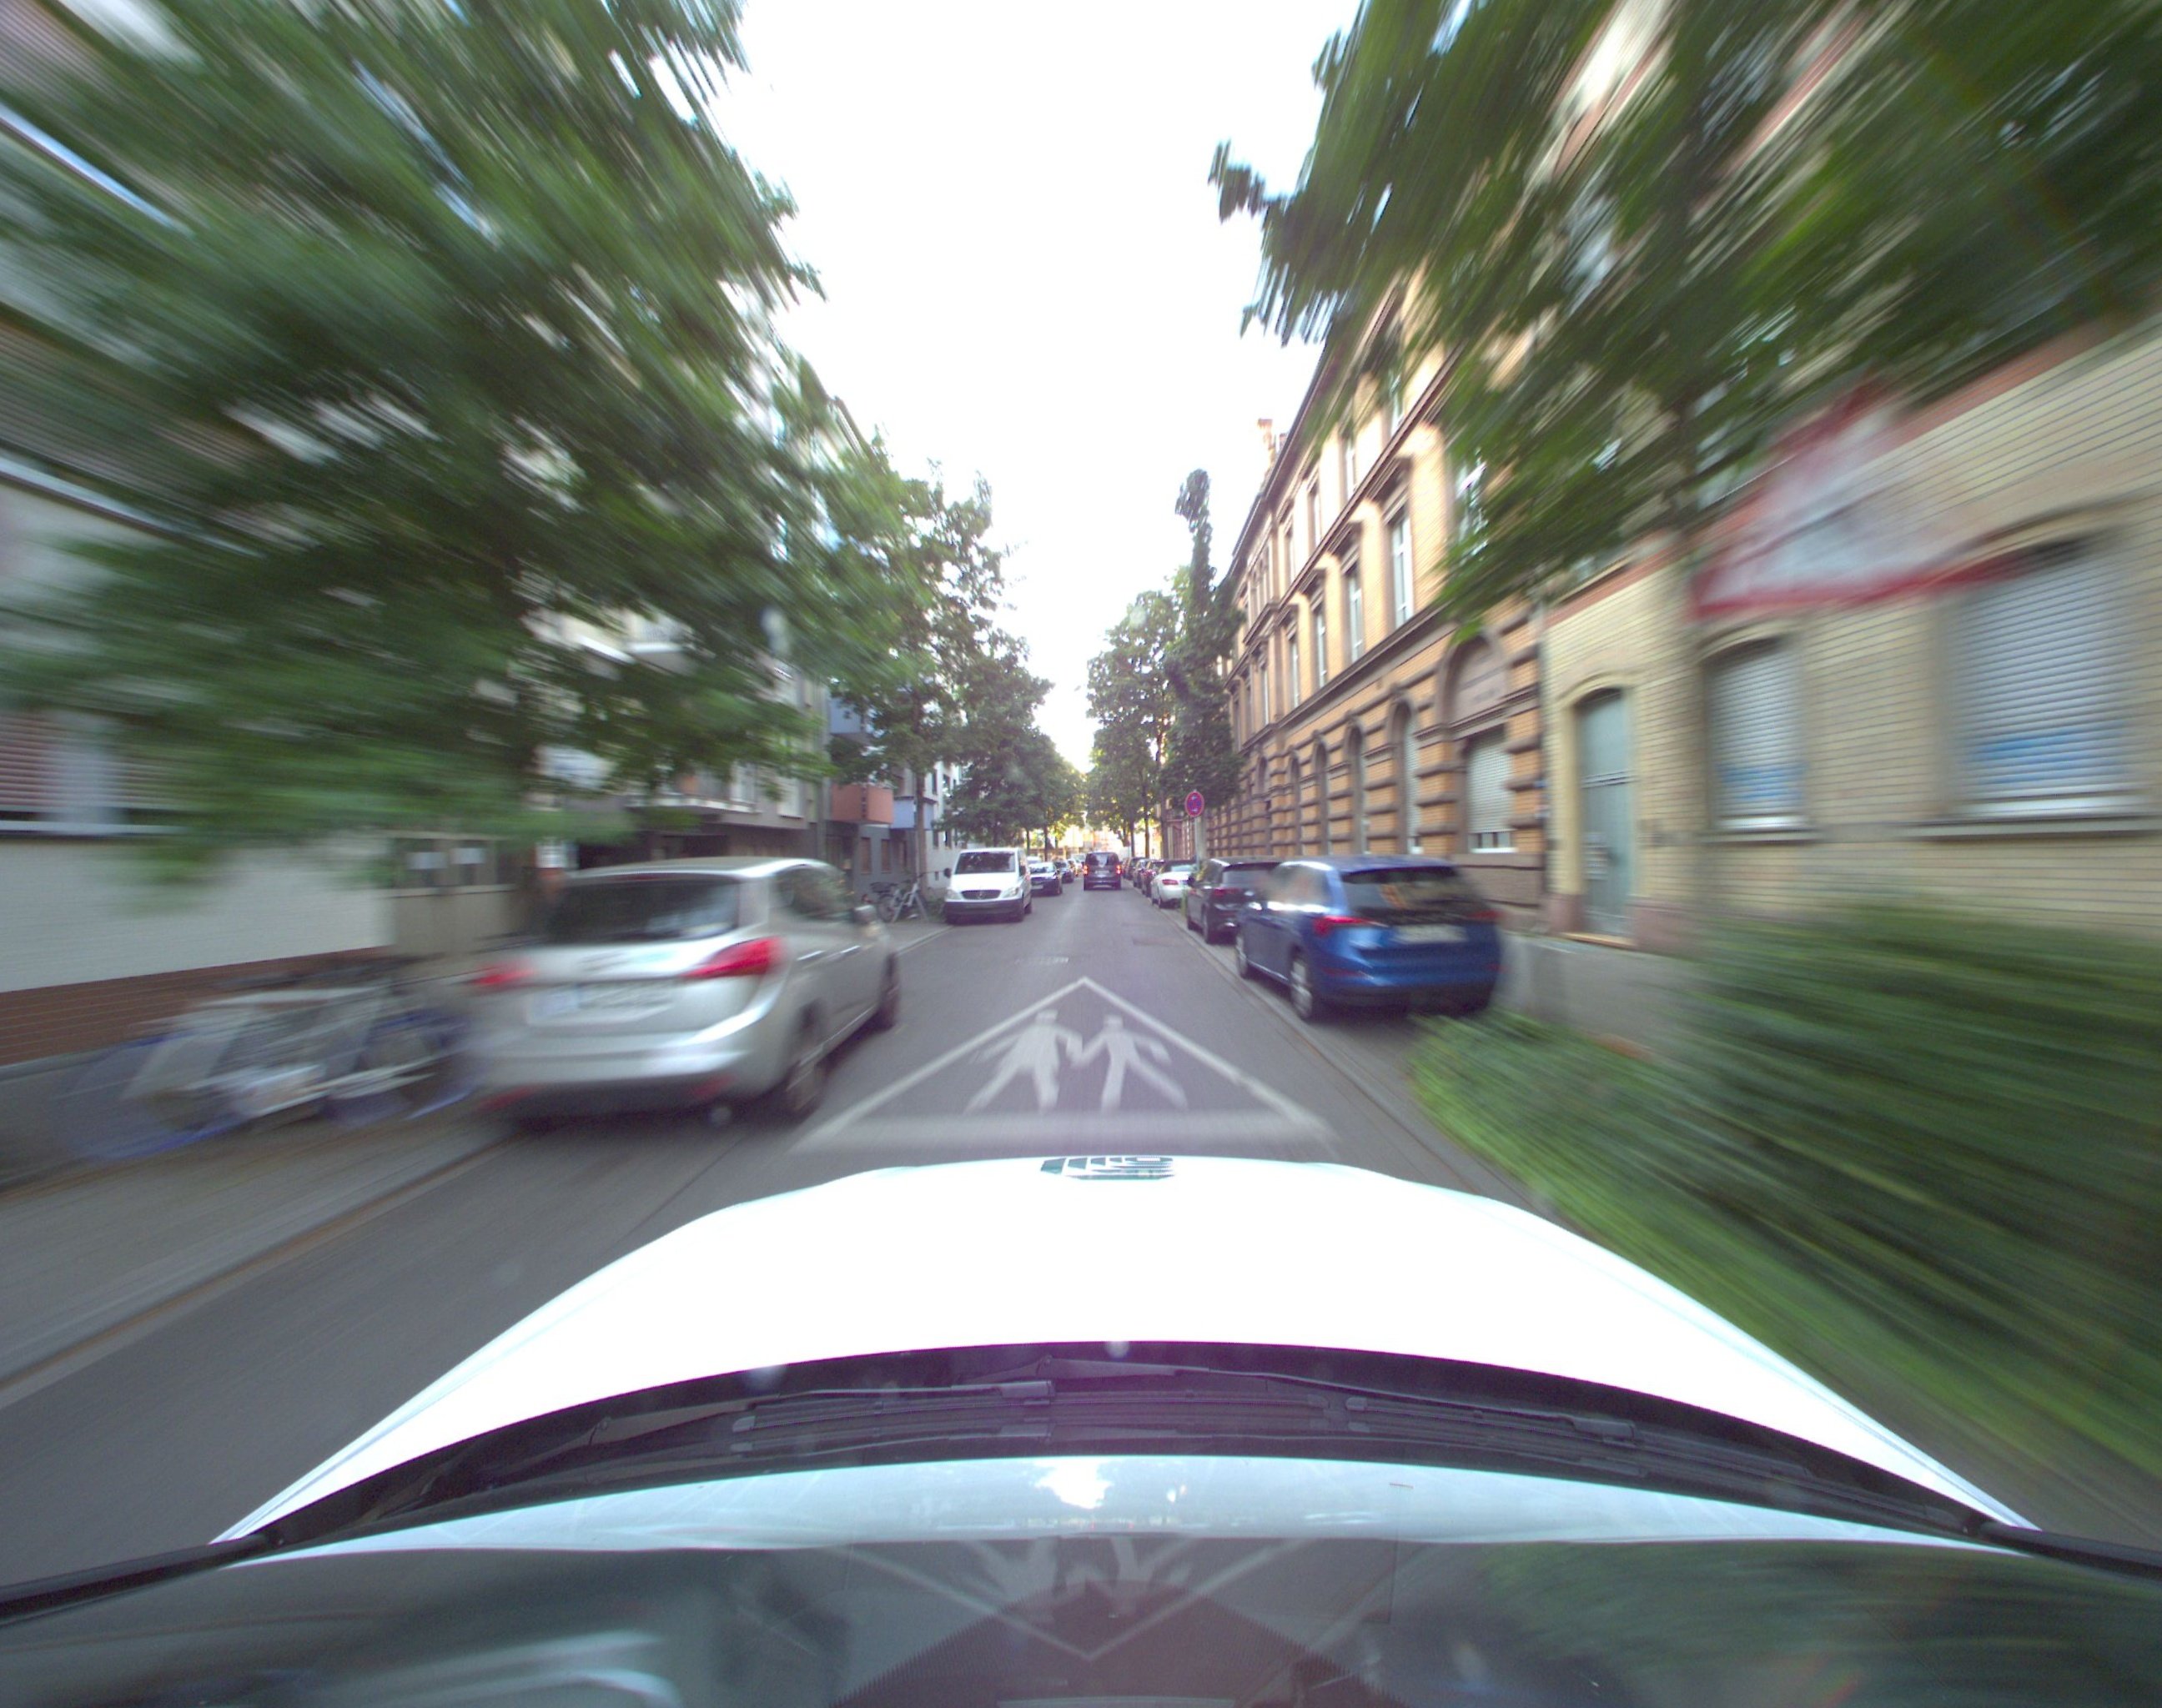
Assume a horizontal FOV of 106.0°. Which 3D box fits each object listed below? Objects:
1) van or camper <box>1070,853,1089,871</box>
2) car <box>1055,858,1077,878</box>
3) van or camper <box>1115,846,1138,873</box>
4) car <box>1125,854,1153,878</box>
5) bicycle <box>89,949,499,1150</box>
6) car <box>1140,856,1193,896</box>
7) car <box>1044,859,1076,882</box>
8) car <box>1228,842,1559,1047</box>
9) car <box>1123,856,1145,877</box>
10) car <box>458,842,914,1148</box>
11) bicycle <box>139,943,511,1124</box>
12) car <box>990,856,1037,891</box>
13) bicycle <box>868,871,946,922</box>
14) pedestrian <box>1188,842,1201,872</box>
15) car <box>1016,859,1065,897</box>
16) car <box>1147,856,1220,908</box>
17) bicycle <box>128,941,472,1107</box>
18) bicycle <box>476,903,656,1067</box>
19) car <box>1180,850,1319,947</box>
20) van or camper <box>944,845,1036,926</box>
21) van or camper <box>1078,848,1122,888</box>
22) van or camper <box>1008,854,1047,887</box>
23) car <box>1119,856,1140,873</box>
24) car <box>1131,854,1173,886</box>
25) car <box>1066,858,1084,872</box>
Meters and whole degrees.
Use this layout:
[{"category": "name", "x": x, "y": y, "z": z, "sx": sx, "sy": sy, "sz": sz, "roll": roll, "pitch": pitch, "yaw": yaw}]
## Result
[{"category": "van or camper", "x": -0.182, "y": 0.871, "z": 93.507, "sx": 1.855, "sy": 1.983, "sz": 4.274, "roll": -2, "pitch": 0, "yaw": 3}, {"category": "car", "x": -1.220, "y": 1.114, "z": 65.771, "sx": 1.625, "sy": 1.430, "sz": 3.543, "roll": -2, "pitch": 1, "yaw": 0}, {"category": "van or camper", "x": 4.673, "y": 0.564, "z": 84.451, "sx": 1.987, "sy": 2.599, "sz": 5.423, "roll": -1, "pitch": 0, "yaw": 0}, {"category": "car", "x": 3.963, "y": 0.816, "z": 56.441, "sx": 1.607, "sy": 1.559, "sz": 3.765, "roll": -2, "pitch": 0, "yaw": 0}, {"category": "bicycle", "x": -4.537, "y": 1.089, "z": 4.847, "sx": 1.709, "sy": 0.907, "sz": 0.380, "roll": -1, "pitch": -1, "yaw": -29}, {"category": "car", "x": 3.342, "y": 0.846, "z": 32.527, "sx": 1.716, "sy": 1.450, "sz": 4.215, "roll": -2, "pitch": -1, "yaw": 1}, {"category": "car", "x": -1.366, "y": 1.059, "z": 54.027, "sx": 1.839, "sy": 1.451, "sz": 4.504, "roll": -1, "pitch": 0, "yaw": 2}, {"category": "car", "x": 2.711, "y": 0.680, "z": 8.183, "sx": 1.623, "sy": 1.466, "sz": 4.244, "roll": -2, "pitch": 0, "yaw": -1}, {"category": "car", "x": 3.945, "y": 0.890, "z": 60.508, "sx": 1.544, "sy": 1.496, "sz": 3.614, "roll": -1, "pitch": 0, "yaw": 4}, {"category": "car", "x": -2.514, "y": 0.754, "z": 6.357, "sx": 1.659, "sy": 1.563, "sz": 3.997, "roll": -2, "pitch": 0, "yaw": -2}, {"category": "bicycle", "x": -4.746, "y": 1.095, "z": 5.252, "sx": 1.709, "sy": 0.898, "sz": 0.380, "roll": -1, "pitch": -1, "yaw": -29}, {"category": "car", "x": -3.462, "y": 0.965, "z": 42.665, "sx": 2.027, "sy": 1.672, "sz": 4.648, "roll": 2, "pitch": 0, "yaw": 0}, {"category": "bicycle", "x": -4.386, "y": 1.062, "z": 20.639, "sx": 0.690, "sy": 1.163, "sz": 1.834, "roll": -2, "pitch": 0, "yaw": 43}, {"category": "pedestrian", "x": 6.293, "y": 0.151, "z": 45.107, "sx": 0.624, "sy": 1.648, "sz": 0.532, "roll": -1, "pitch": -1, "yaw": 1}, {"category": "car", "x": -1.704, "y": 1.019, "z": 35.810, "sx": 1.824, "sy": 1.517, "sz": 4.516, "roll": -2, "pitch": -1, "yaw": 1}, {"category": "car", "x": 3.069, "y": 0.795, "z": 25.193, "sx": 1.688, "sy": 1.401, "sz": 4.646, "roll": -2, "pitch": 0, "yaw": 1}, {"category": "bicycle", "x": -5.278, "y": 1.116, "z": 5.629, "sx": 1.669, "sy": 0.898, "sz": 0.380, "roll": -1, "pitch": -1, "yaw": -29}, {"category": "bicycle", "x": -4.204, "y": 1.010, "z": 6.788, "sx": 0.418, "sy": 1.103, "sz": 1.665, "roll": -1, "pitch": -1, "yaw": 1}, {"category": "car", "x": 2.900, "y": 0.697, "z": 14.885, "sx": 1.706, "sy": 1.478, "sz": 4.192, "roll": -1, "pitch": 0, "yaw": 1}, {"category": "van or camper", "x": -2.283, "y": 0.739, "z": 21.621, "sx": 1.871, "sy": 1.843, "sz": 4.751, "roll": -2, "pitch": 0, "yaw": 0}, {"category": "van or camper", "x": 1.029, "y": 0.694, "z": 41.489, "sx": 2.027, "sy": 1.897, "sz": 4.274, "roll": -1, "pitch": 0, "yaw": 3}, {"category": "van or camper", "x": -3.130, "y": 0.934, "z": 48.130, "sx": 1.925, "sy": 1.760, "sz": 4.465, "roll": 2, "pitch": 0, "yaw": 0}, {"category": "car", "x": 4.351, "y": 0.952, "z": 73.467, "sx": 1.744, "sy": 1.471, "sz": 3.777, "roll": -1, "pitch": 0, "yaw": 2}, {"category": "car", "x": 3.639, "y": 0.787, "z": 42.430, "sx": 1.692, "sy": 1.483, "sz": 3.998, "roll": -4, "pitch": 0, "yaw": -1}, {"category": "car", "x": -0.634, "y": 1.160, "z": 88.407, "sx": 1.735, "sy": 1.404, "sz": 3.375, "roll": -2, "pitch": 0, "yaw": 1}]
